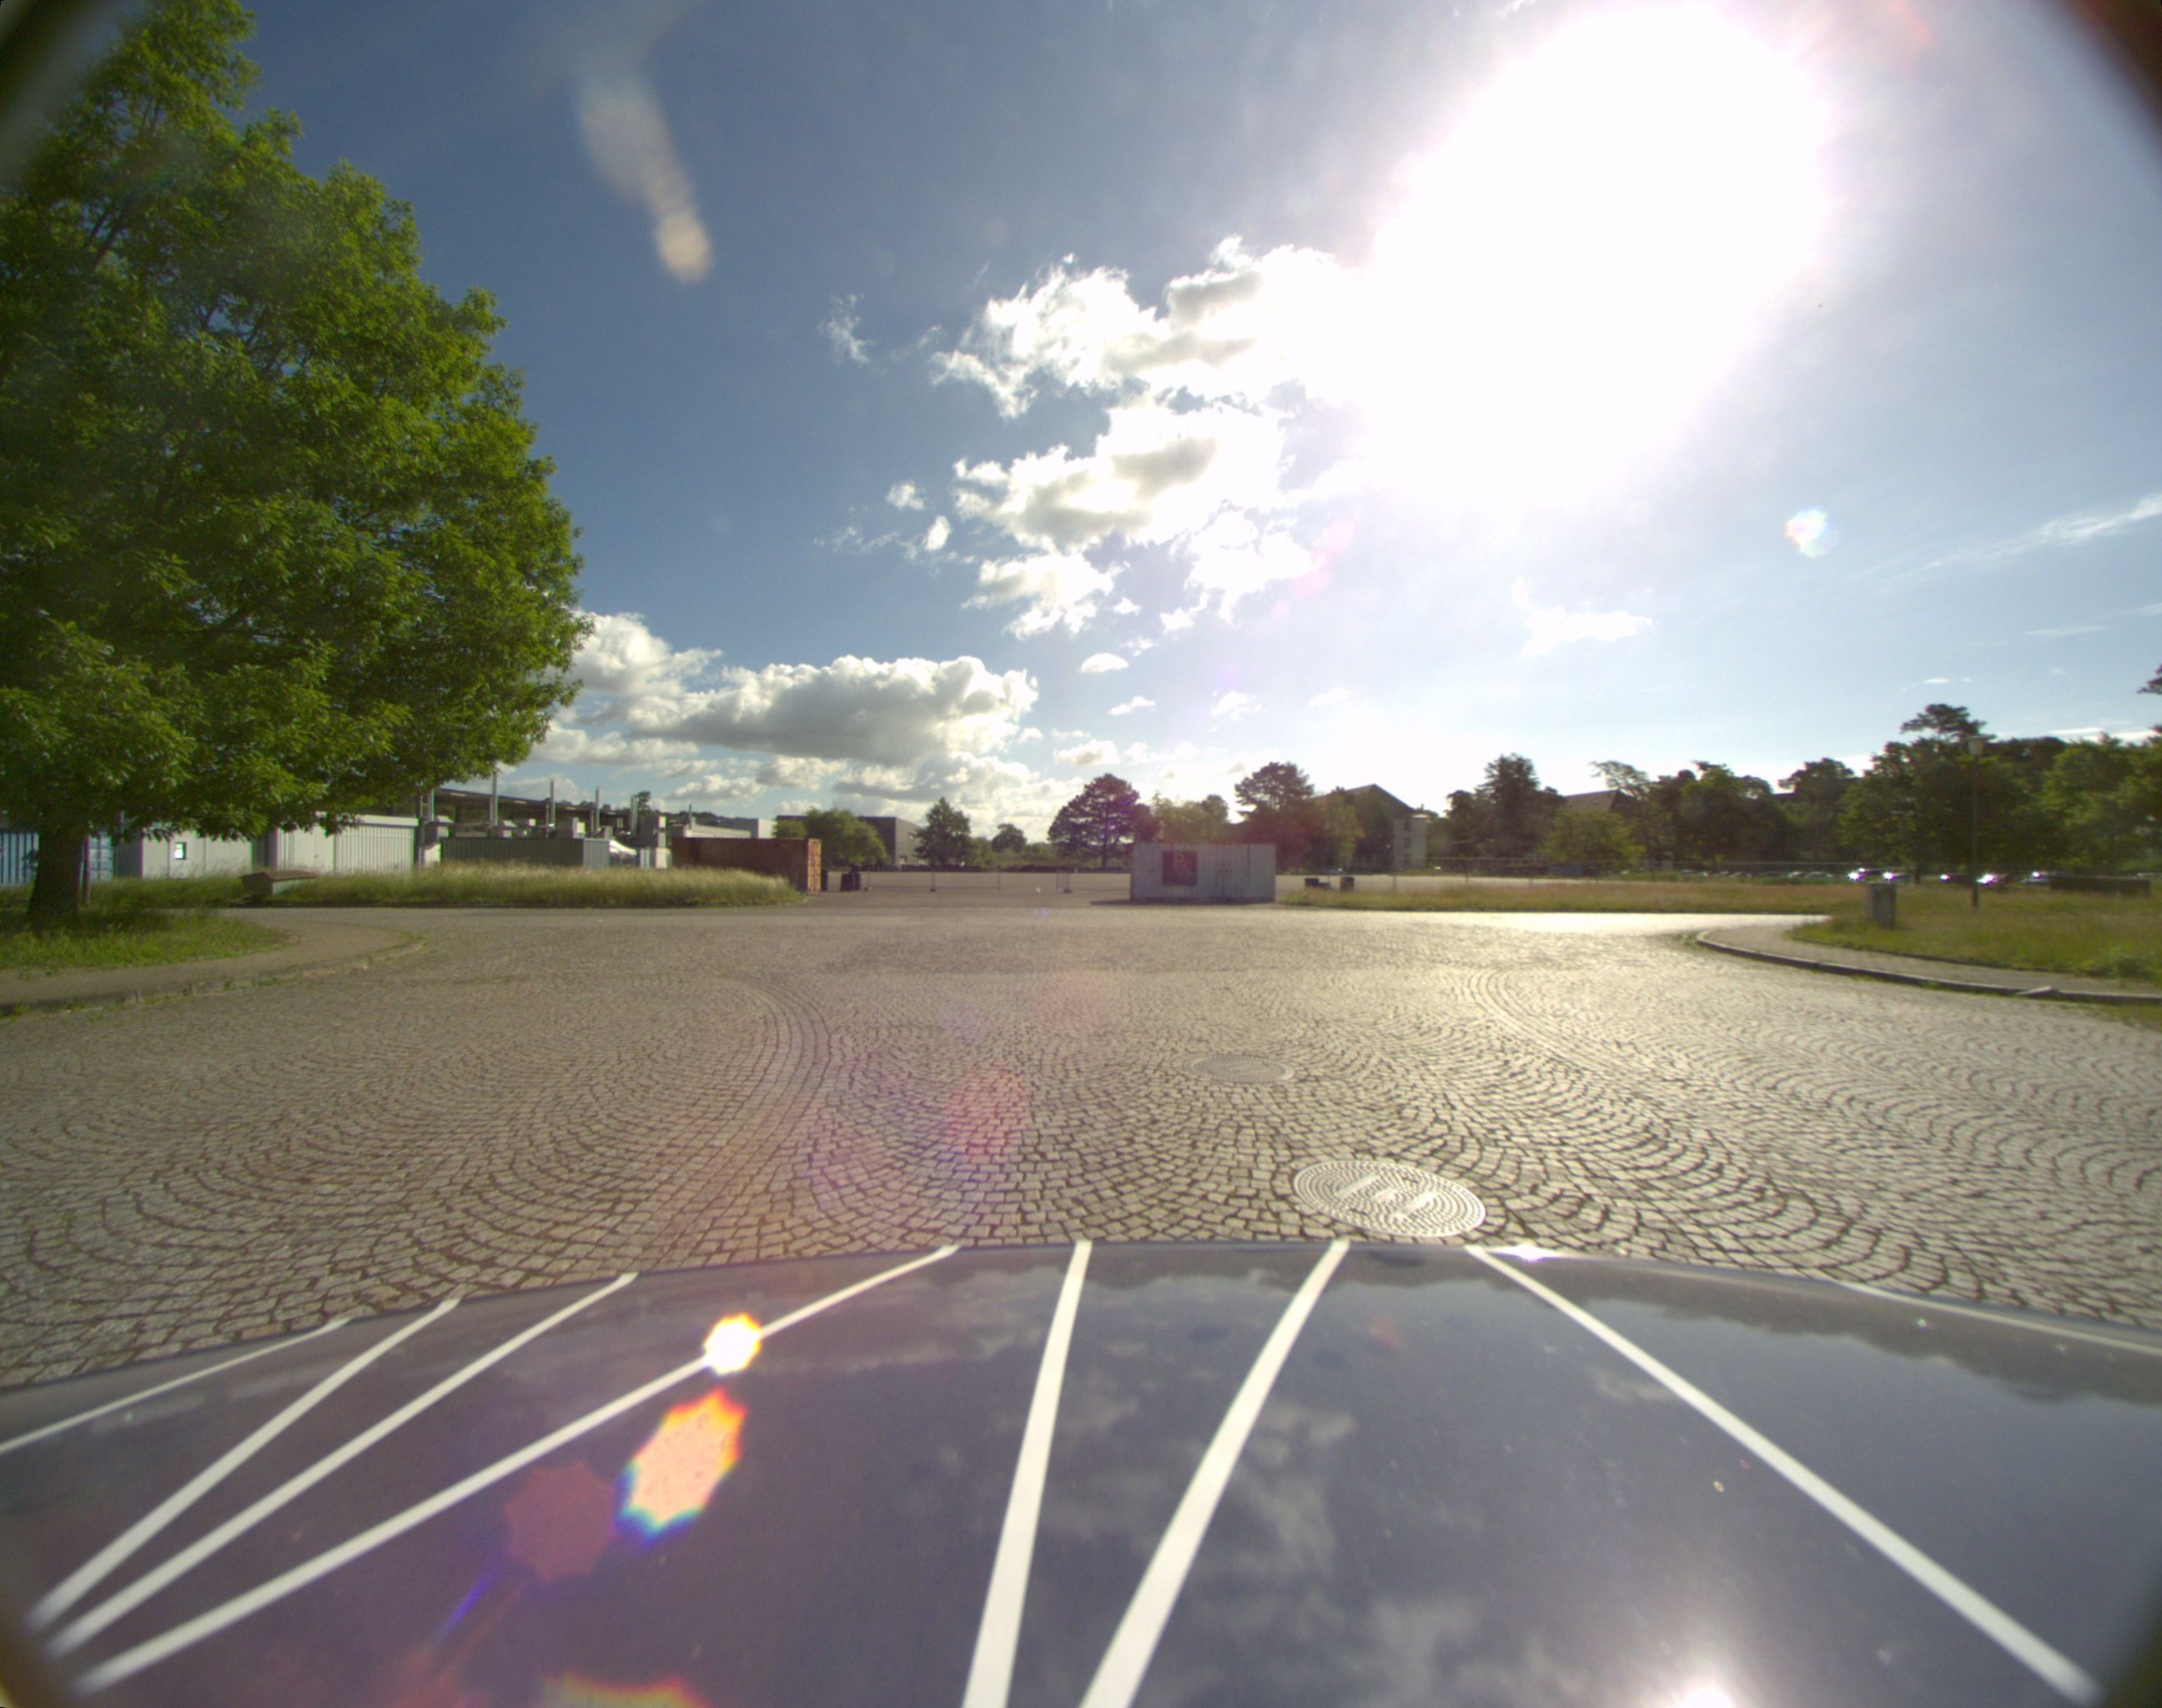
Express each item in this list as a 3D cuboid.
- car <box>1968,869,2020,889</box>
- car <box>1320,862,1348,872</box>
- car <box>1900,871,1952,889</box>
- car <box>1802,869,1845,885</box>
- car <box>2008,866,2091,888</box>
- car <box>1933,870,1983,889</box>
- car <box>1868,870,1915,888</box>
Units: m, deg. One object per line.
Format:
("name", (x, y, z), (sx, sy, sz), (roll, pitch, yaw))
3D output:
("car", (94.779, 2.608, 78.879), (3.619, 2.002, 1.742), (0, 0, -5))
("car", (42.307, 2.211, 127.100), (4.000, 1.573, 1.998), (1, 0, -9))
("car", (95.273, 2.926, 85.679), (3.999, 2.002, 1.999), (1, 0, -6))
("car", (93.395, 2.893, 95.613), (3.849, 2.002, 1.742), (0, 0, -3))
("car", (95.831, 2.302, 75.186), (6.032, 2.001, 2.000), (-1, -2, -4))
("car", (94.233, 2.709, 81.648), (3.619, 2.002, 1.742), (0, 0, -5))
("car", (93.692, 2.925, 87.834), (3.850, 2.002, 1.742), (0, 0, -5))
